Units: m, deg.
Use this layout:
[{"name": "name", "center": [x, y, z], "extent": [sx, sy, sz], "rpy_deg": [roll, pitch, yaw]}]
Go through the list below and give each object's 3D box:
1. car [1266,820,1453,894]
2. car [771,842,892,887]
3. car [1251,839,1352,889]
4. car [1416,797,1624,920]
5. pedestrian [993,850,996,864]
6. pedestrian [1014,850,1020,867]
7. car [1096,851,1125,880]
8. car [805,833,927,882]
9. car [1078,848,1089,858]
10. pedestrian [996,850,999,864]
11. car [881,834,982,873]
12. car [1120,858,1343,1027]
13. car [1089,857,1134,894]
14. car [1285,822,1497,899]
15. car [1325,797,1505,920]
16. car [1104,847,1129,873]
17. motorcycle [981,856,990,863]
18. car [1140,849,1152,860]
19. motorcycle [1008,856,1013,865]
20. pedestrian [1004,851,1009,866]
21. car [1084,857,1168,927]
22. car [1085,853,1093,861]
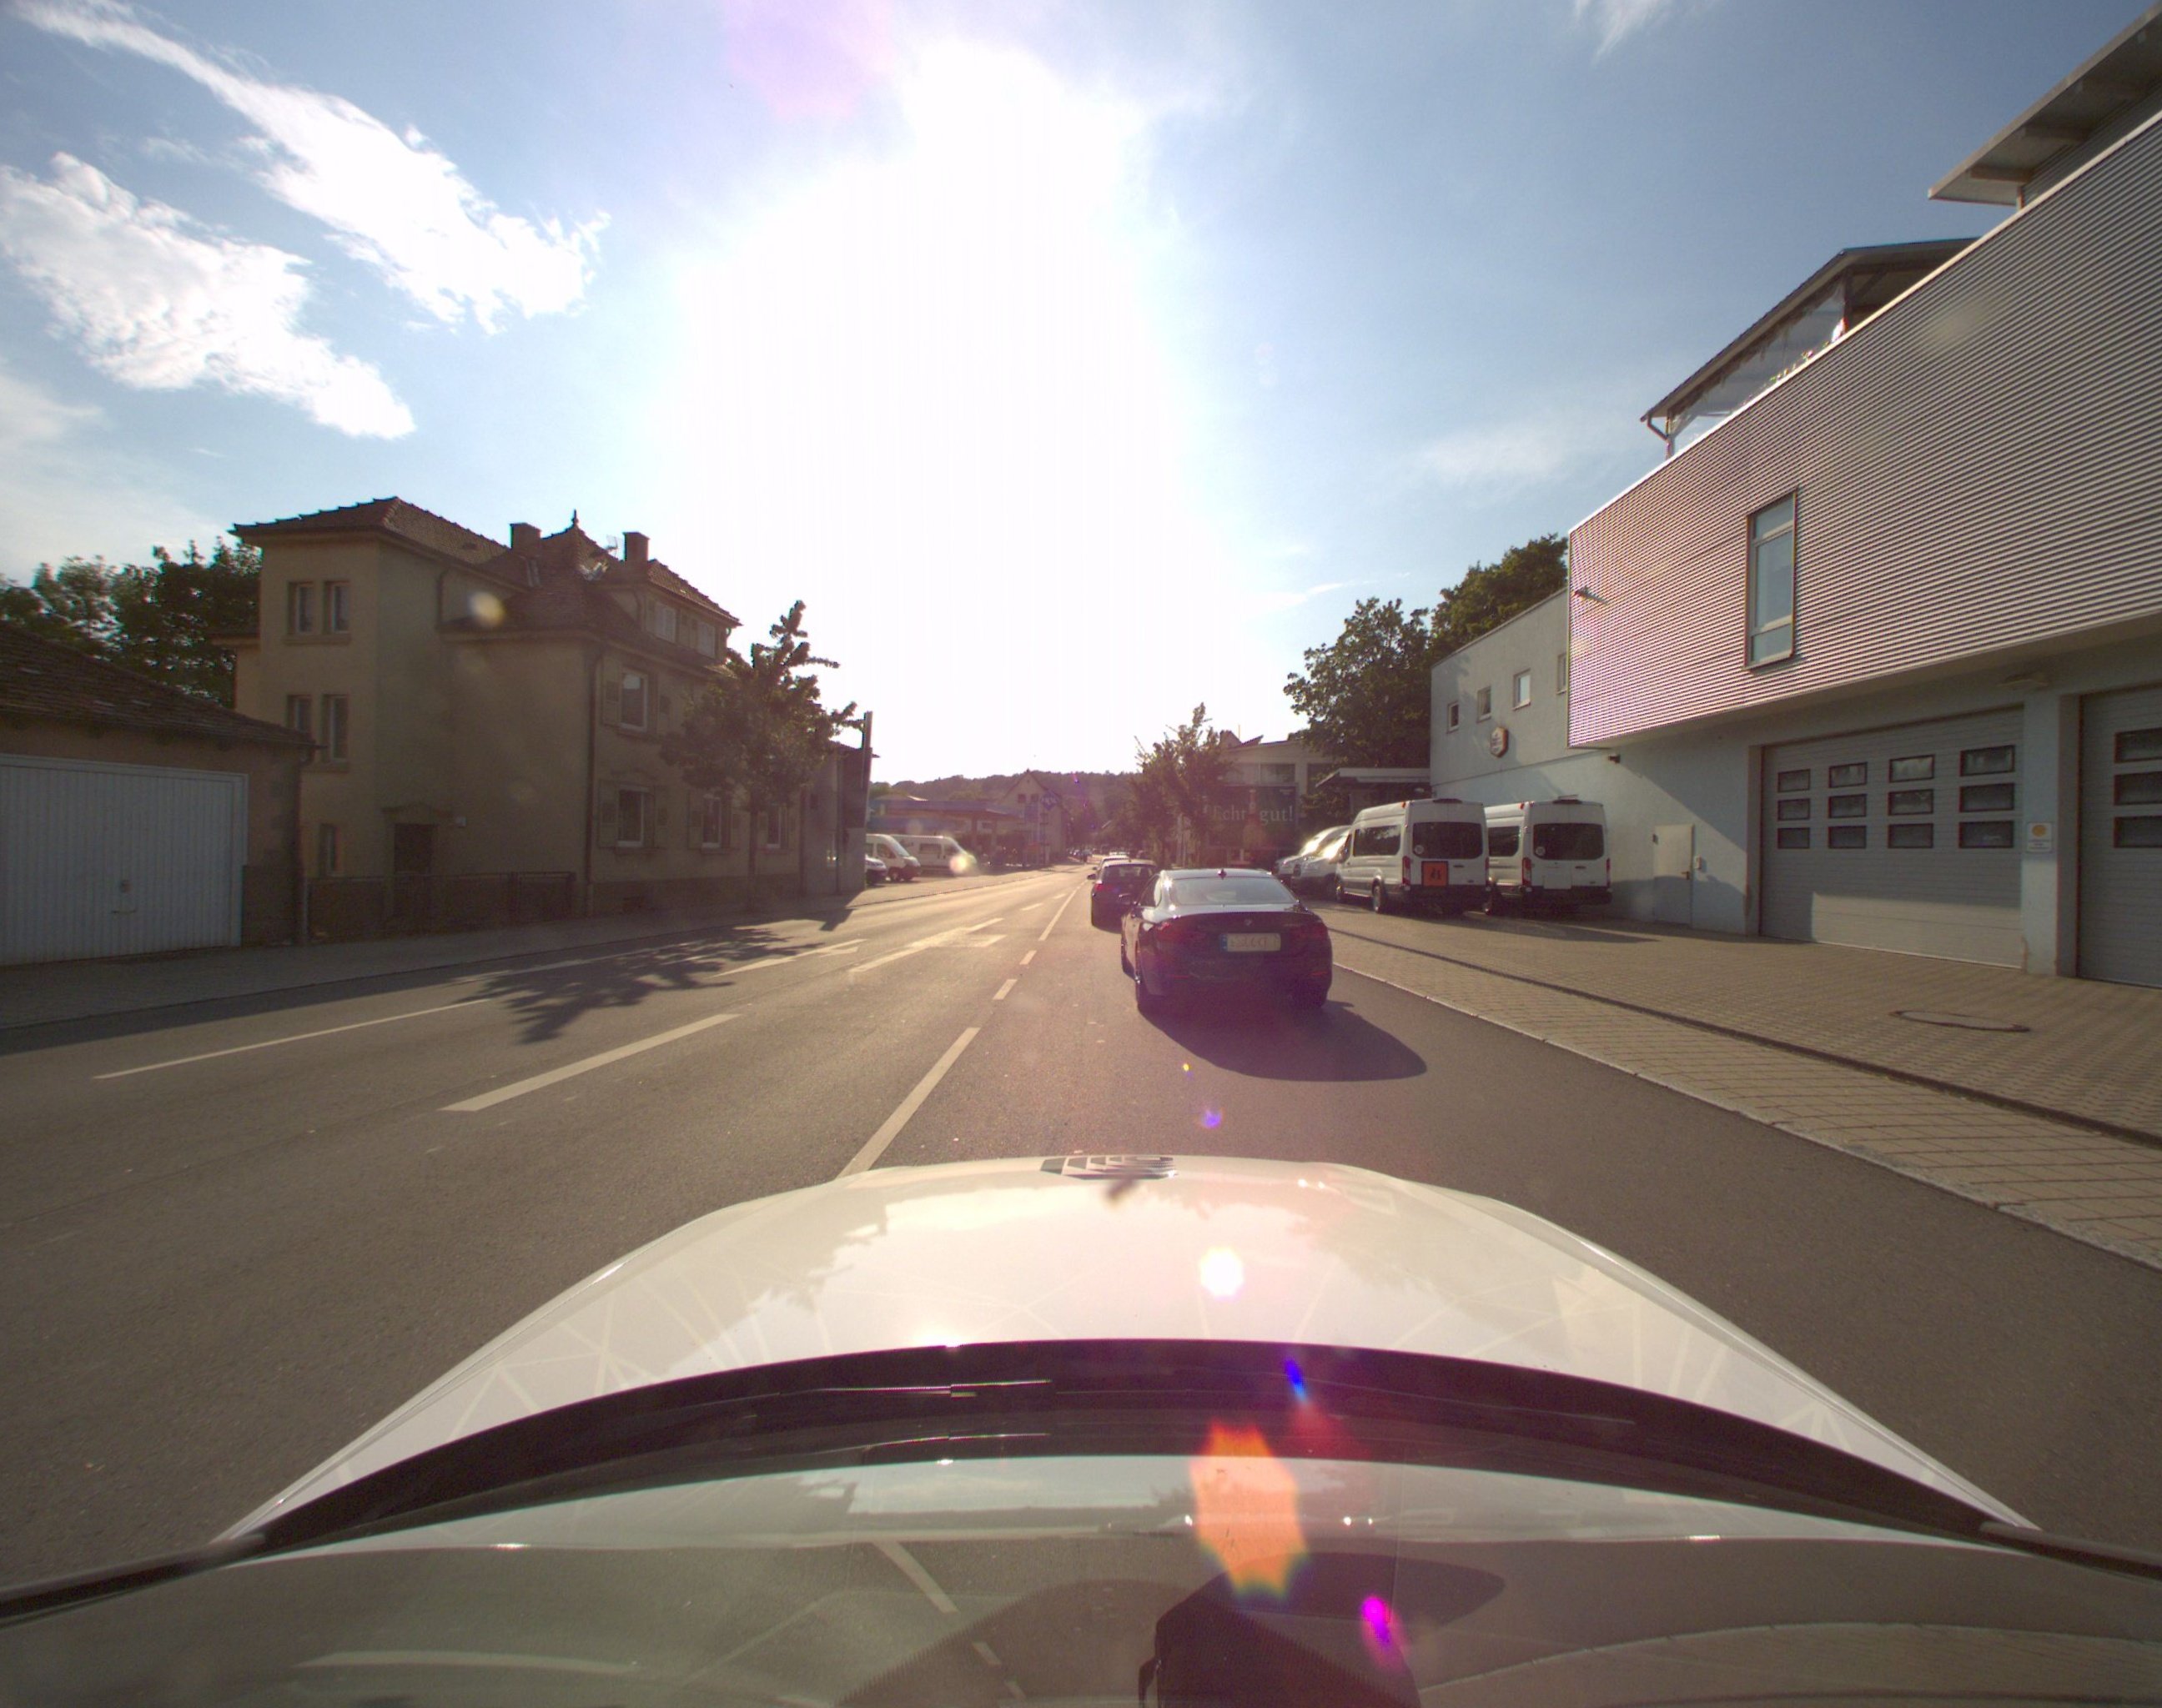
[{"name": "car", "center": [9.813, 0.092, 29.052], "extent": [6.023, 2.516, 2.044], "rpy_deg": [0, 0, 0]}, {"name": "car", "center": [-11.480, 0.462, 37.696], "extent": [4.951, 1.999, 1.938], "rpy_deg": [1, 0, 5]}, {"name": "car", "center": [8.687, 0.387, 32.241], "extent": [3.588, 1.894, 1.586], "rpy_deg": [0, 0, -1]}, {"name": "car", "center": [11.077, 0.060, 21.295], "extent": [2.103, 2.722, 6.445], "rpy_deg": [0, 0, 1]}, {"name": "pedestrian", "center": [-8.771, 0.324, 82.889], "extent": [0.286, 1.366, 0.263], "rpy_deg": [0, 0, -1]}, {"name": "pedestrian", "center": [-6.627, 0.473, 84.210], "extent": [0.608, 1.670, 0.442], "rpy_deg": [0, 0, 0]}, {"name": "car", "center": [1.729, 0.651, 47.262], "extent": [1.585, 1.600, 3.895], "rpy_deg": [0, 0, 2]}, {"name": "car", "center": [-11.490, 0.165, 43.690], "extent": [5.888, 2.480, 2.198], "rpy_deg": [1, 1, 7]}, {"name": "car", "center": [0.384, -0.164, 130.995], "extent": [1.591, 1.485, 3.476], "rpy_deg": [1, 0, 2]}, {"name": "pedestrian", "center": [-8.529, 0.302, 83.583], "extent": [0.261, 1.383, 0.288], "rpy_deg": [0, 0, 0]}, {"name": "car", "center": [-9.720, -0.022, 53.338], "extent": [6.133, 2.444, 2.251], "rpy_deg": [1, 0, 3]}, {"name": "car", "center": [1.403, 0.770, 9.159], "extent": [1.694, 1.369, 4.261], "rpy_deg": [-1, 1, 0]}, {"name": "car", "center": [1.273, 0.846, 33.890], "extent": [1.747, 1.414, 3.424], "rpy_deg": [0, 0, 2]}, {"name": "car", "center": [9.797, 0.192, 26.063], "extent": [6.023, 2.363, 2.044], "rpy_deg": [0, 0, 0]}, {"name": "car", "center": [8.304, 0.076, 21.133], "extent": [2.141, 2.680, 6.606], "rpy_deg": [0, 0, 2]}, {"name": "car", "center": [2.509, 0.415, 57.411], "extent": [1.595, 1.767, 3.416], "rpy_deg": [0, 0, 5]}, {"name": "motorcycle", "center": [-9.920, 0.585, 84.446], "extent": [0.456, 0.730, 1.478], "rpy_deg": [0, 0, 10]}, {"name": "car", "center": [9.459, 0.061, 118.352], "extent": [1.591, 1.485, 3.476], "rpy_deg": [1, 0, 2]}, {"name": "motorcycle", "center": [-7.284, 0.680, 83.894], "extent": [0.362, 0.943, 1.696], "rpy_deg": [0, 0, 2]}, {"name": "pedestrian", "center": [-7.703, 0.514, 84.358], "extent": [0.406, 1.547, 0.433], "rpy_deg": [0, 0, 0]}, {"name": "car", "center": [1.076, 0.814, 18.961], "extent": [1.764, 1.456, 3.520], "rpy_deg": [0, 0, 4]}, {"name": "car", "center": [1.705, 0.608, 172.439], "extent": [1.591, 1.485, 3.476], "rpy_deg": [1, 0, 2]}]
